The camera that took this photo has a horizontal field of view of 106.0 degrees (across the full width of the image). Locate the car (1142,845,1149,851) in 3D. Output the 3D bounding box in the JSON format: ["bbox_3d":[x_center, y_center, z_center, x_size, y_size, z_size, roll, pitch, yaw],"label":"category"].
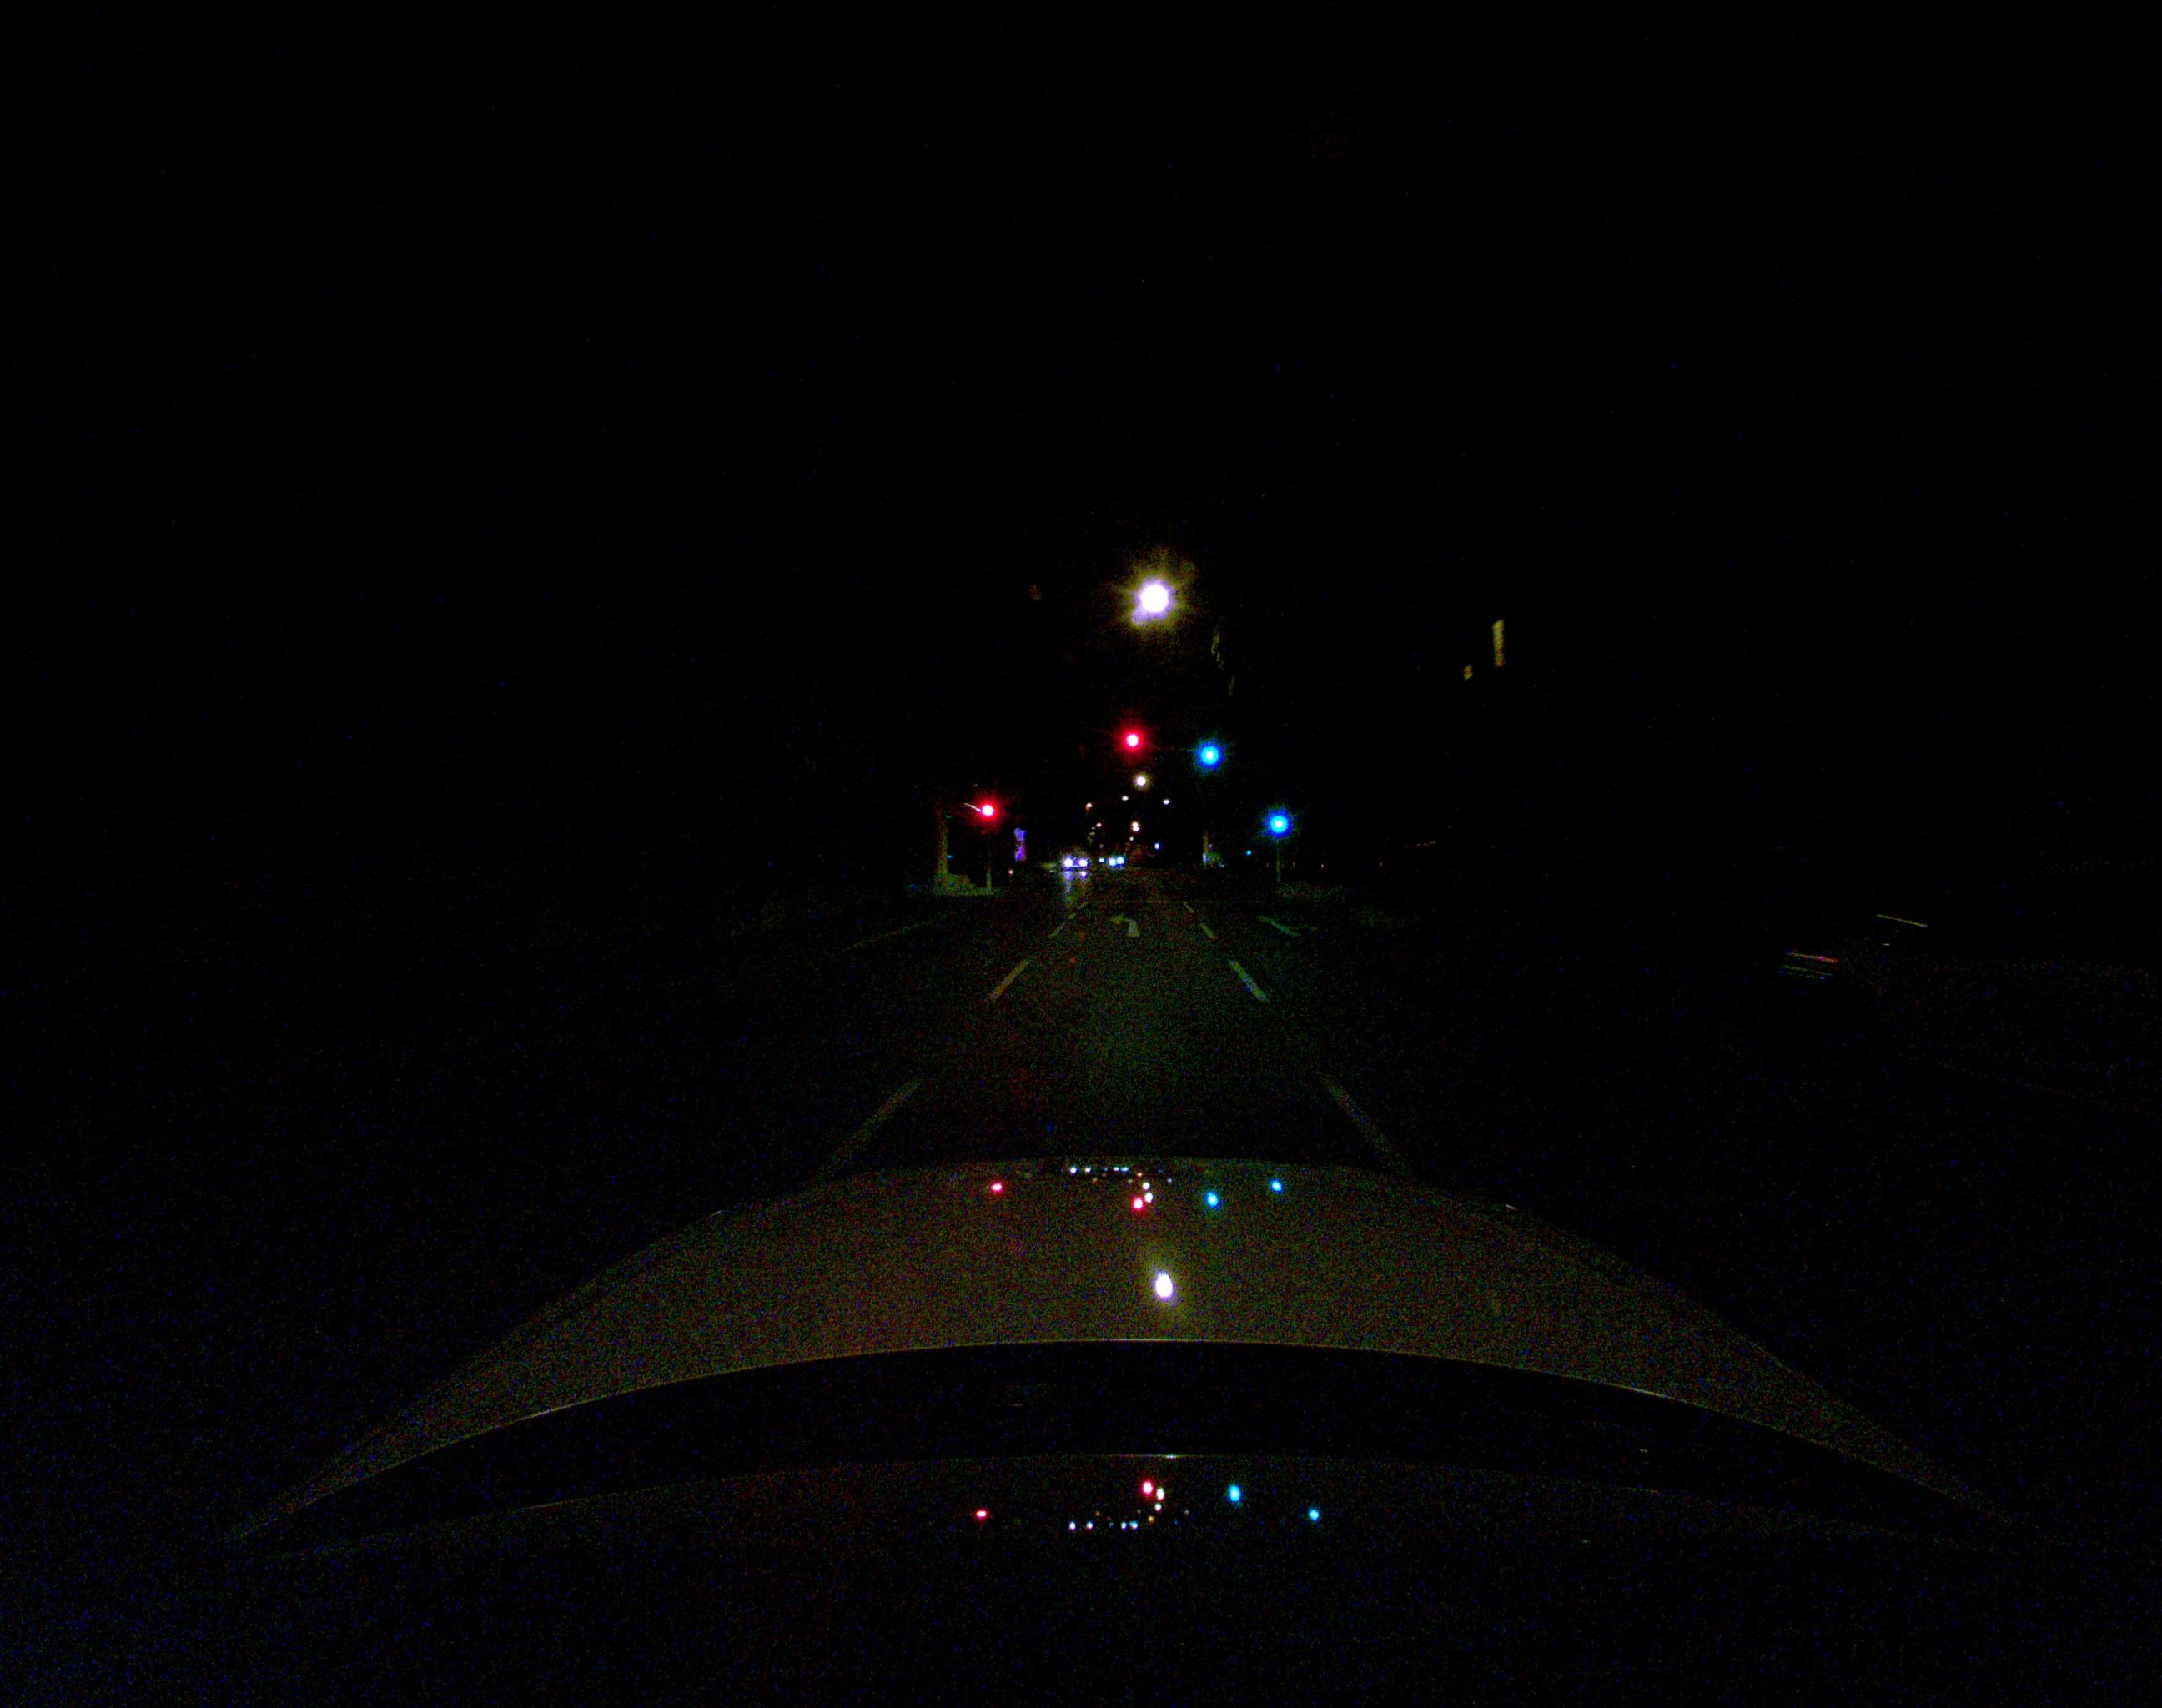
[{"bbox_3d":[16.866,-1.501,212.844,1.627,1.451,3.488,0,0,4],"label":"car"}]

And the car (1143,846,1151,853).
[{"bbox_3d":[14.653,-0.943,180.660,1.627,1.451,3.488,0,0,4],"label":"car"}]

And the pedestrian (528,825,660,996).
[{"bbox_3d":[-5.255,0.579,8.862,0.739,1.745,1.104,0,-1,3],"label":"pedestrian"}]

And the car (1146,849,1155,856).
[{"bbox_3d":[14.045,-0.240,164.590,1.627,1.451,3.488,0,0,4],"label":"car"}]

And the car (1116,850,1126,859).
[{"bbox_3d":[7.710,0.054,156.351,1.807,1.684,4.004,-1,0,4],"label":"car"}]

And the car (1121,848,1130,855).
[{"bbox_3d":[9.958,-0.552,182.260,1.808,1.491,4.002,0,0,2],"label":"car"}]

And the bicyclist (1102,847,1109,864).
[{"bbox_3d":[2.442,0.160,81.215,0.687,1.637,0.897,-1,-1,4],"label":"bicyclist"}]

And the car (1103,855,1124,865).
[{"bbox_3d":[4.510,0.835,114.220,1.917,1.388,4.566,0,0,-10],"label":"car"}]

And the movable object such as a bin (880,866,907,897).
[{"bbox_3d":[-6.350,0.927,27.617,0.633,1.049,0.658,-1,-1,21],"label":"movable object such as a bin"}]

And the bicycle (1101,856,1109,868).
[{"bbox_3d":[2.439,0.769,81.181,0.693,1.149,1.953,-1,0,4],"label":"bicycle"}]

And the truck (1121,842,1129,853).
[{"bbox_3d":[12.521,-1.826,231.283,2.078,2.848,5.835,0,0,2],"label":"truck"}]

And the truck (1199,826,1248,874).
[{"bbox_3d":[9.685,-0.235,55.930,2.737,3.110,6.266,0,0,4],"label":"truck"}]

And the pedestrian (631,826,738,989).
[{"bbox_3d":[-4.475,0.575,9.259,0.672,1.745,1.029,0,-1,3],"label":"pedestrian"}]

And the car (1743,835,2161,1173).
[{"bbox_3d":[5.730,0.666,4.280,1.661,1.484,3.606,-3,0,3],"label":"car"}]

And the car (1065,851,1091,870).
[{"bbox_3d":[-0.223,0.546,68.378,1.849,1.534,4.032,0,0,4],"label":"car"}]
